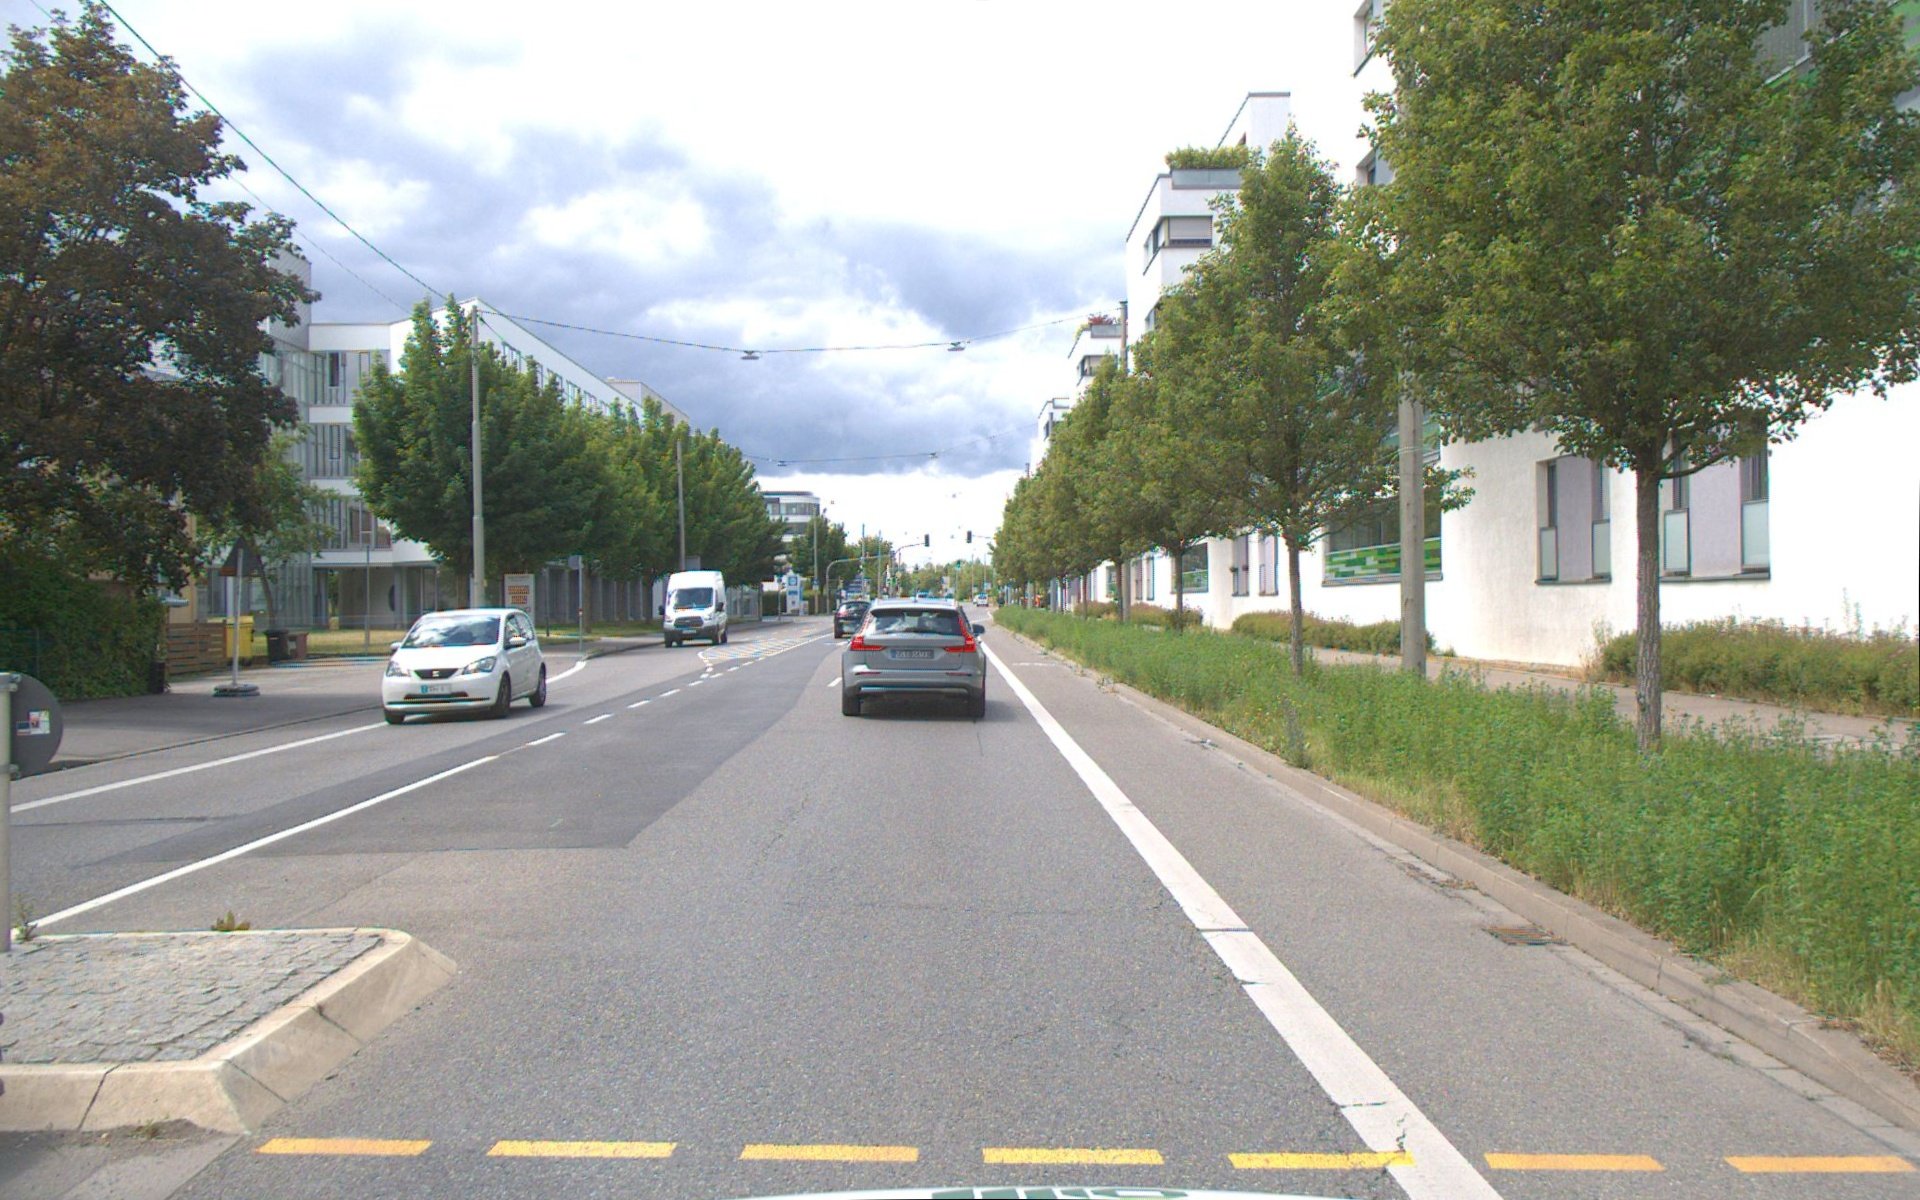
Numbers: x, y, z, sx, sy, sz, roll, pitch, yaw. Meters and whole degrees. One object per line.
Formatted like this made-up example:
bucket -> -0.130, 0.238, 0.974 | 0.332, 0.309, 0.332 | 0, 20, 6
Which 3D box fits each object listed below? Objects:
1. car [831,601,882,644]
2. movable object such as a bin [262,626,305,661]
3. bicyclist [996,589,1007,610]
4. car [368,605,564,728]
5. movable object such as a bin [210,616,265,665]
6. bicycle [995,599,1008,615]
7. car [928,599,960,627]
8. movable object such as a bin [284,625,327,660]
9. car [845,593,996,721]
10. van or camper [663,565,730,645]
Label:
car -> -3.965, 0.844, 63.895 | 1.817, 1.539, 3.999 | 0, 0, -1
movable object such as a bin -> -19.764, 1.267, 48.320 | 0.730, 0.958, 1.000 | -2, 0, 6
bicyclist -> 4.031, -0.044, 161.738 | 0.993, 2.049, 1.131 | -2, 0, -2
car -> -6.924, 0.869, 23.565 | 1.627, 1.542, 3.999 | -1, 0, -1
movable object such as a bin -> -21.127, 1.168, 48.414 | 1.387, 1.353, 1.414 | -2, 0, -22
bicycle -> 4.075, 0.707, 161.656 | 1.045, 1.478, 2.976 | -2, 0, -1
car -> -0.950, 0.708, 95.111 | 1.807, 1.539, 3.999 | 0, 0, -1
movable object such as a bin -> -19.019, 1.238, 48.085 | 0.730, 0.958, 1.000 | -2, 0, 6
car -> -0.595, 0.686, 21.966 | 1.817, 1.539, 3.997 | 0, 0, -4
van or camper -> -9.852, 0.179, 62.172 | 1.955, 2.781, 6.046 | -2, 0, -5
